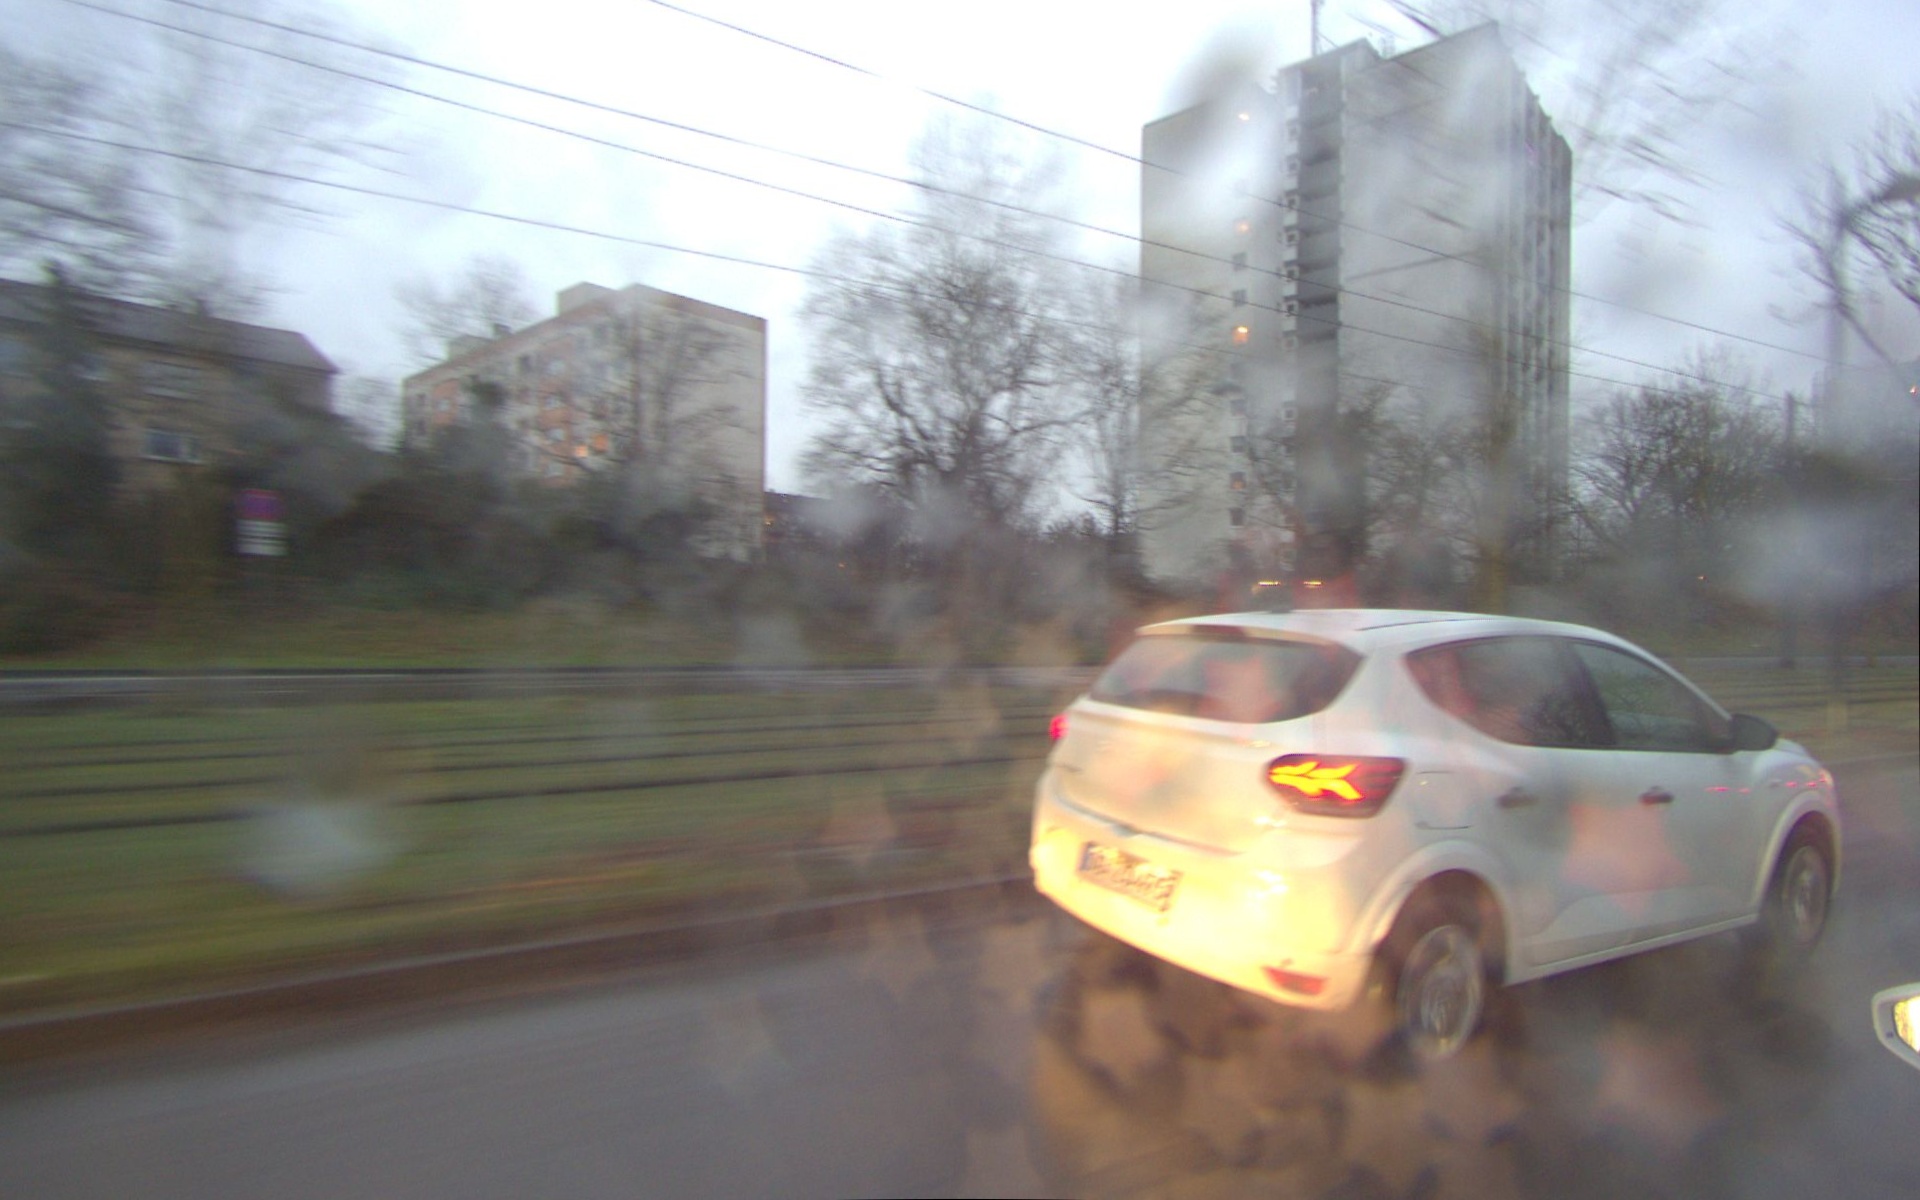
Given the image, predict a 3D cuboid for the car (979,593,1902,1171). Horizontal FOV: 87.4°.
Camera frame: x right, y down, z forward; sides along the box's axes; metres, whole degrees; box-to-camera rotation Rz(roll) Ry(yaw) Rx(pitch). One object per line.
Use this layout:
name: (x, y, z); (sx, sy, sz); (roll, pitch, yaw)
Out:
car: (2.269, 0.796, 4.460); (4.086, 1.545, 1.701); (1, -1, -30)
